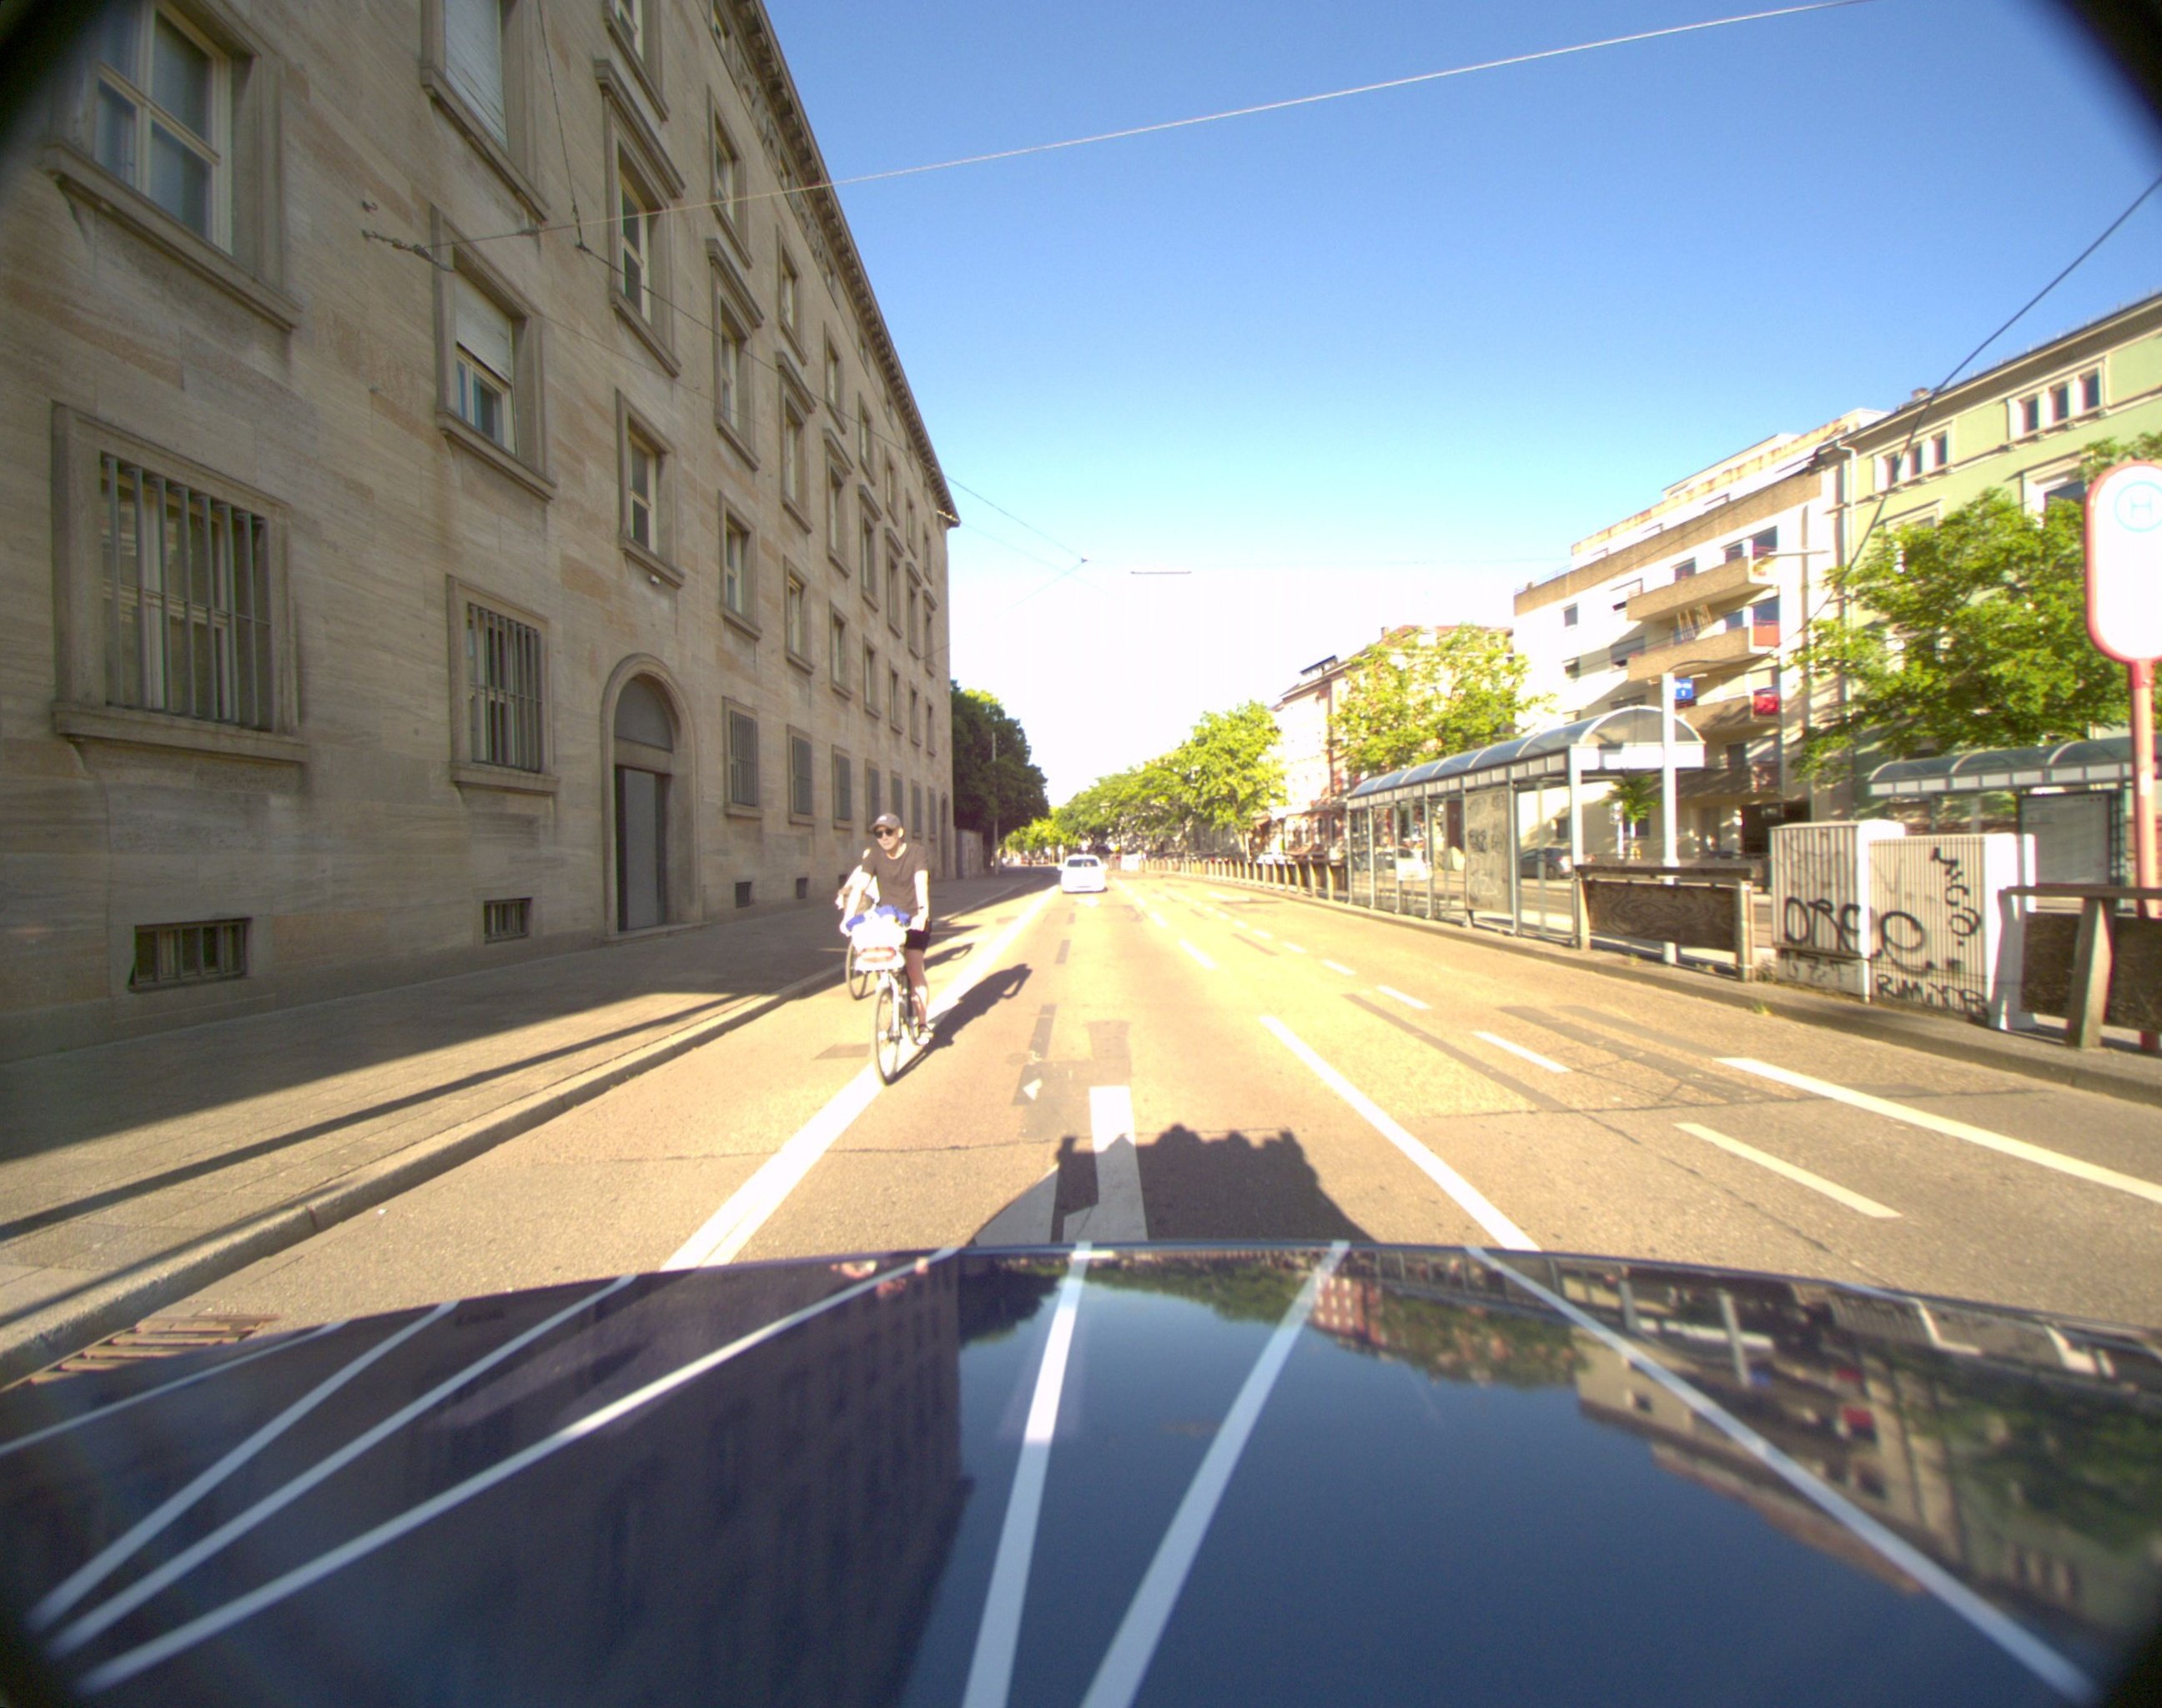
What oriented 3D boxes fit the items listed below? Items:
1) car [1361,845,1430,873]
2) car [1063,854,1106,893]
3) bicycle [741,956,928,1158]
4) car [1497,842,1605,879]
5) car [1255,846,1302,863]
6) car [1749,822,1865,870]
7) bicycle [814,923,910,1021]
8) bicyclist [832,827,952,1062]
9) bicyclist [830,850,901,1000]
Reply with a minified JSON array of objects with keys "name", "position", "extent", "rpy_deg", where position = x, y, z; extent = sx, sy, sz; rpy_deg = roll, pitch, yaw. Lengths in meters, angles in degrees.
[{"name":"car","position":[18.416,0.292,44.718],"extent":[2.000,1.521,3.997],"rpy_deg":[-1,0,-8]},{"name":"car","position":[0.155,0.738,30.551],"extent":[1.571,1.455,3.687],"rpy_deg":[-1,0,1]},{"name":"bicycle","position":[-1.631,1.307,5.389],"extent":[0.390,0.900,1.952],"rpy_deg":[-1,0,9]},{"name":"car","position":[20.946,0.263,34.053],"extent":[2.000,1.521,3.997],"rpy_deg":[-1,0,-8]},{"name":"car","position":[16.439,0.013,63.234],"extent":[3.648,1.342,1.578],"rpy_deg":[-2,1,-29]},{"name":"car","position":[31.793,-0.340,33.302],"extent":[4.001,2.002,1.798],"rpy_deg":[-1,1,-13]},{"name":"bicycle","position":[-2.481,1.307,8.826],"extent":[0.427,0.871,1.951],"rpy_deg":[-1,-1,4]},{"name":"bicyclist","position":[-1.406,0.646,5.742],"extent":[0.671,1.668,0.657],"rpy_deg":[-1,1,5]},{"name":"bicyclist","position":[-2.505,0.790,8.903],"extent":[0.523,1.670,0.859],"rpy_deg":[-1,1,3]}]
